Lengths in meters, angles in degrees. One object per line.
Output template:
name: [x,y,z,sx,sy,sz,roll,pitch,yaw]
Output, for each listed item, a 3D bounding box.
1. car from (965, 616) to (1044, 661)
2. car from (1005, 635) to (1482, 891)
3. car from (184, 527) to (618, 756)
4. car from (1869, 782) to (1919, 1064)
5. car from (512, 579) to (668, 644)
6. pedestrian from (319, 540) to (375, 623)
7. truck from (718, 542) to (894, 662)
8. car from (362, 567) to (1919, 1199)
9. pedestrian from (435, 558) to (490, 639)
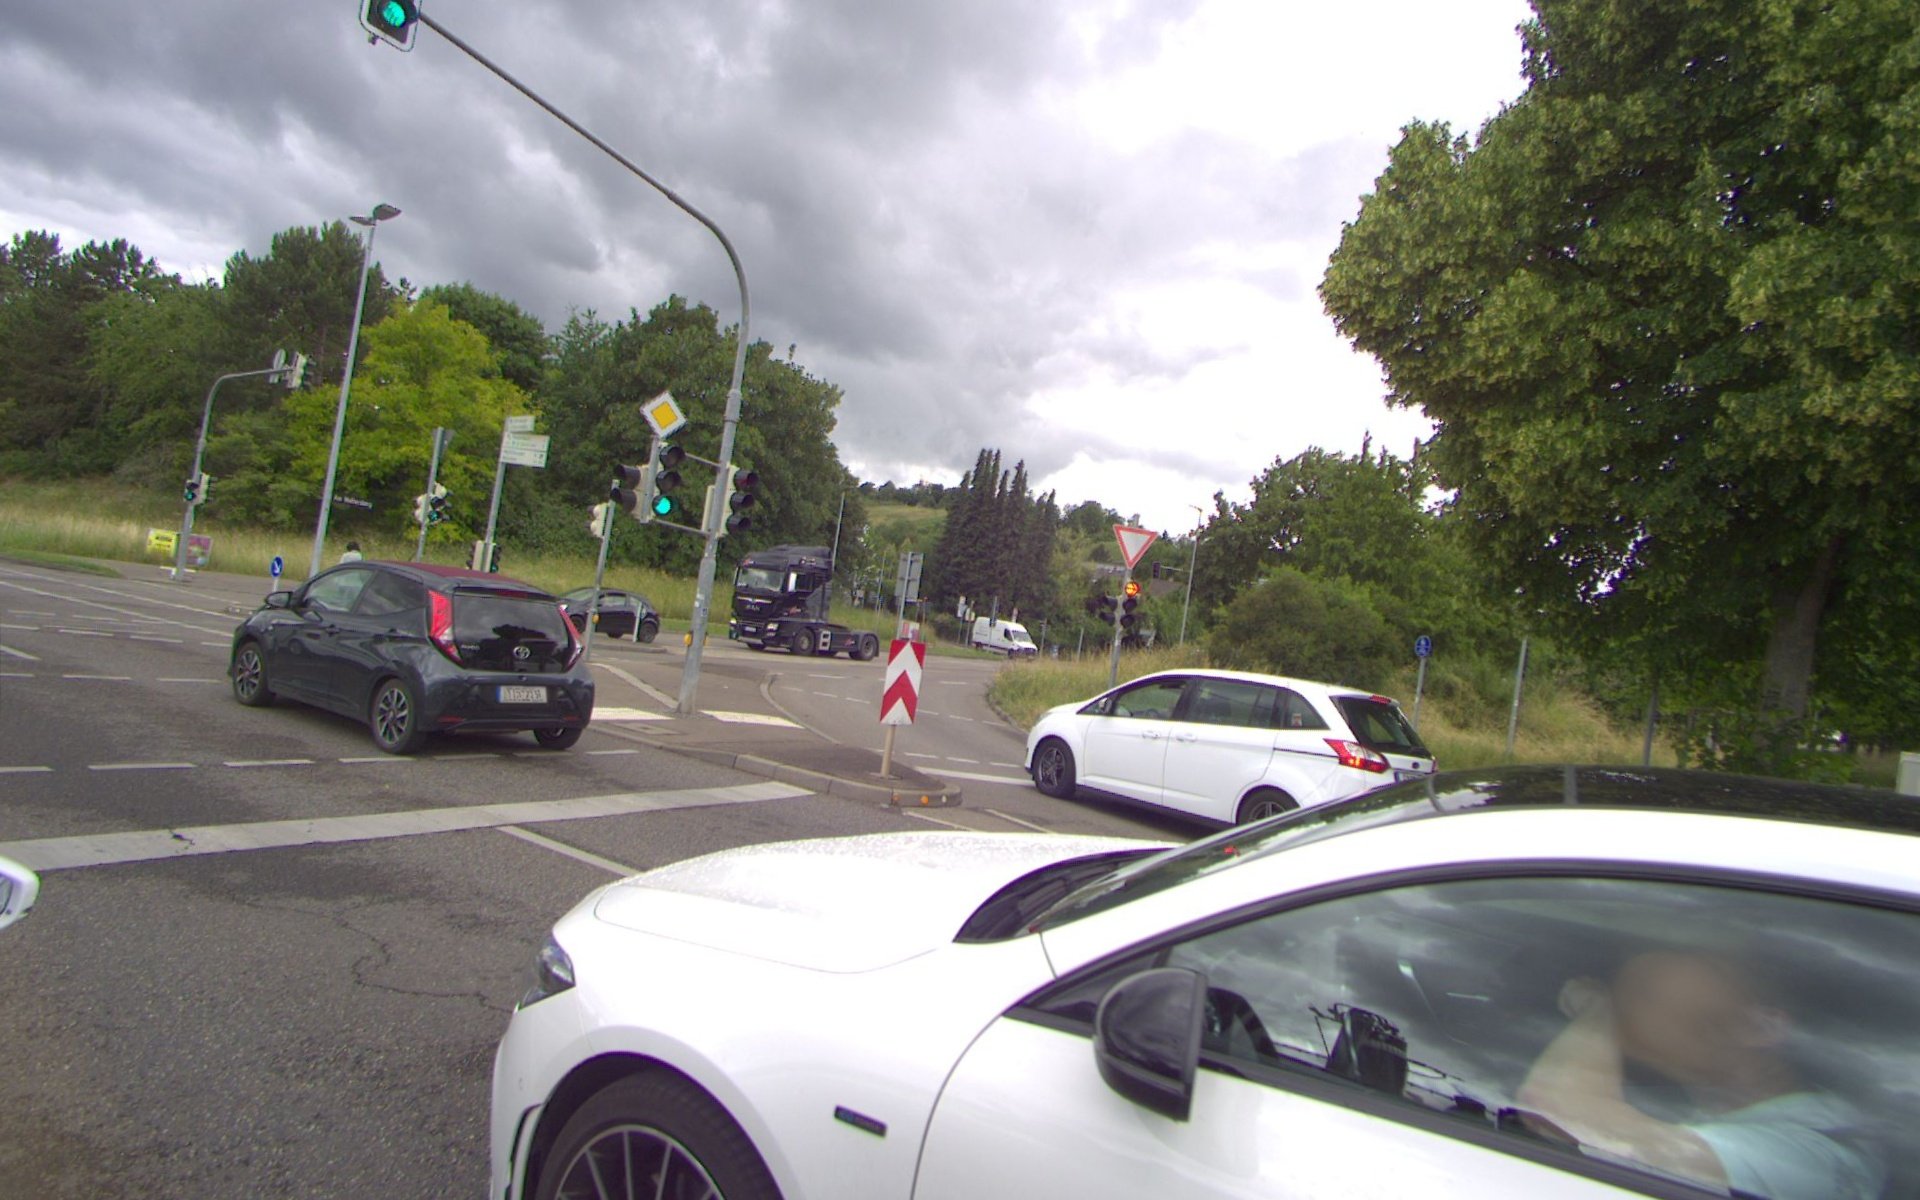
car: [3.171,2.770,73.280,1.988,2.661,5.756,8,-2,-42]
car: [2.615,1.485,10.250,1.752,1.673,4.325,10,-3,-37]
car: [-5.055,0.306,8.979,3.817,1.470,1.616,6,-2,32]
car: [7.290,2.074,5.269,3.511,1.524,1.603,6,-2,38]
car: [-10.556,0.375,28.967,1.669,1.353,3.882,6,-3,34]
pedestrian: [-13.249,-0.397,21.742,0.703,1.681,0.644,6,-1,38]
truck: [-5.451,0.174,36.582,2.648,3.526,6.006,6,-2,34]
car: [1.169,0.980,1.694,4.456,1.523,1.847,6,-2,32]
pedestrian: [-10.753,-0.033,21.761,0.703,1.630,0.644,6,-1,37]
